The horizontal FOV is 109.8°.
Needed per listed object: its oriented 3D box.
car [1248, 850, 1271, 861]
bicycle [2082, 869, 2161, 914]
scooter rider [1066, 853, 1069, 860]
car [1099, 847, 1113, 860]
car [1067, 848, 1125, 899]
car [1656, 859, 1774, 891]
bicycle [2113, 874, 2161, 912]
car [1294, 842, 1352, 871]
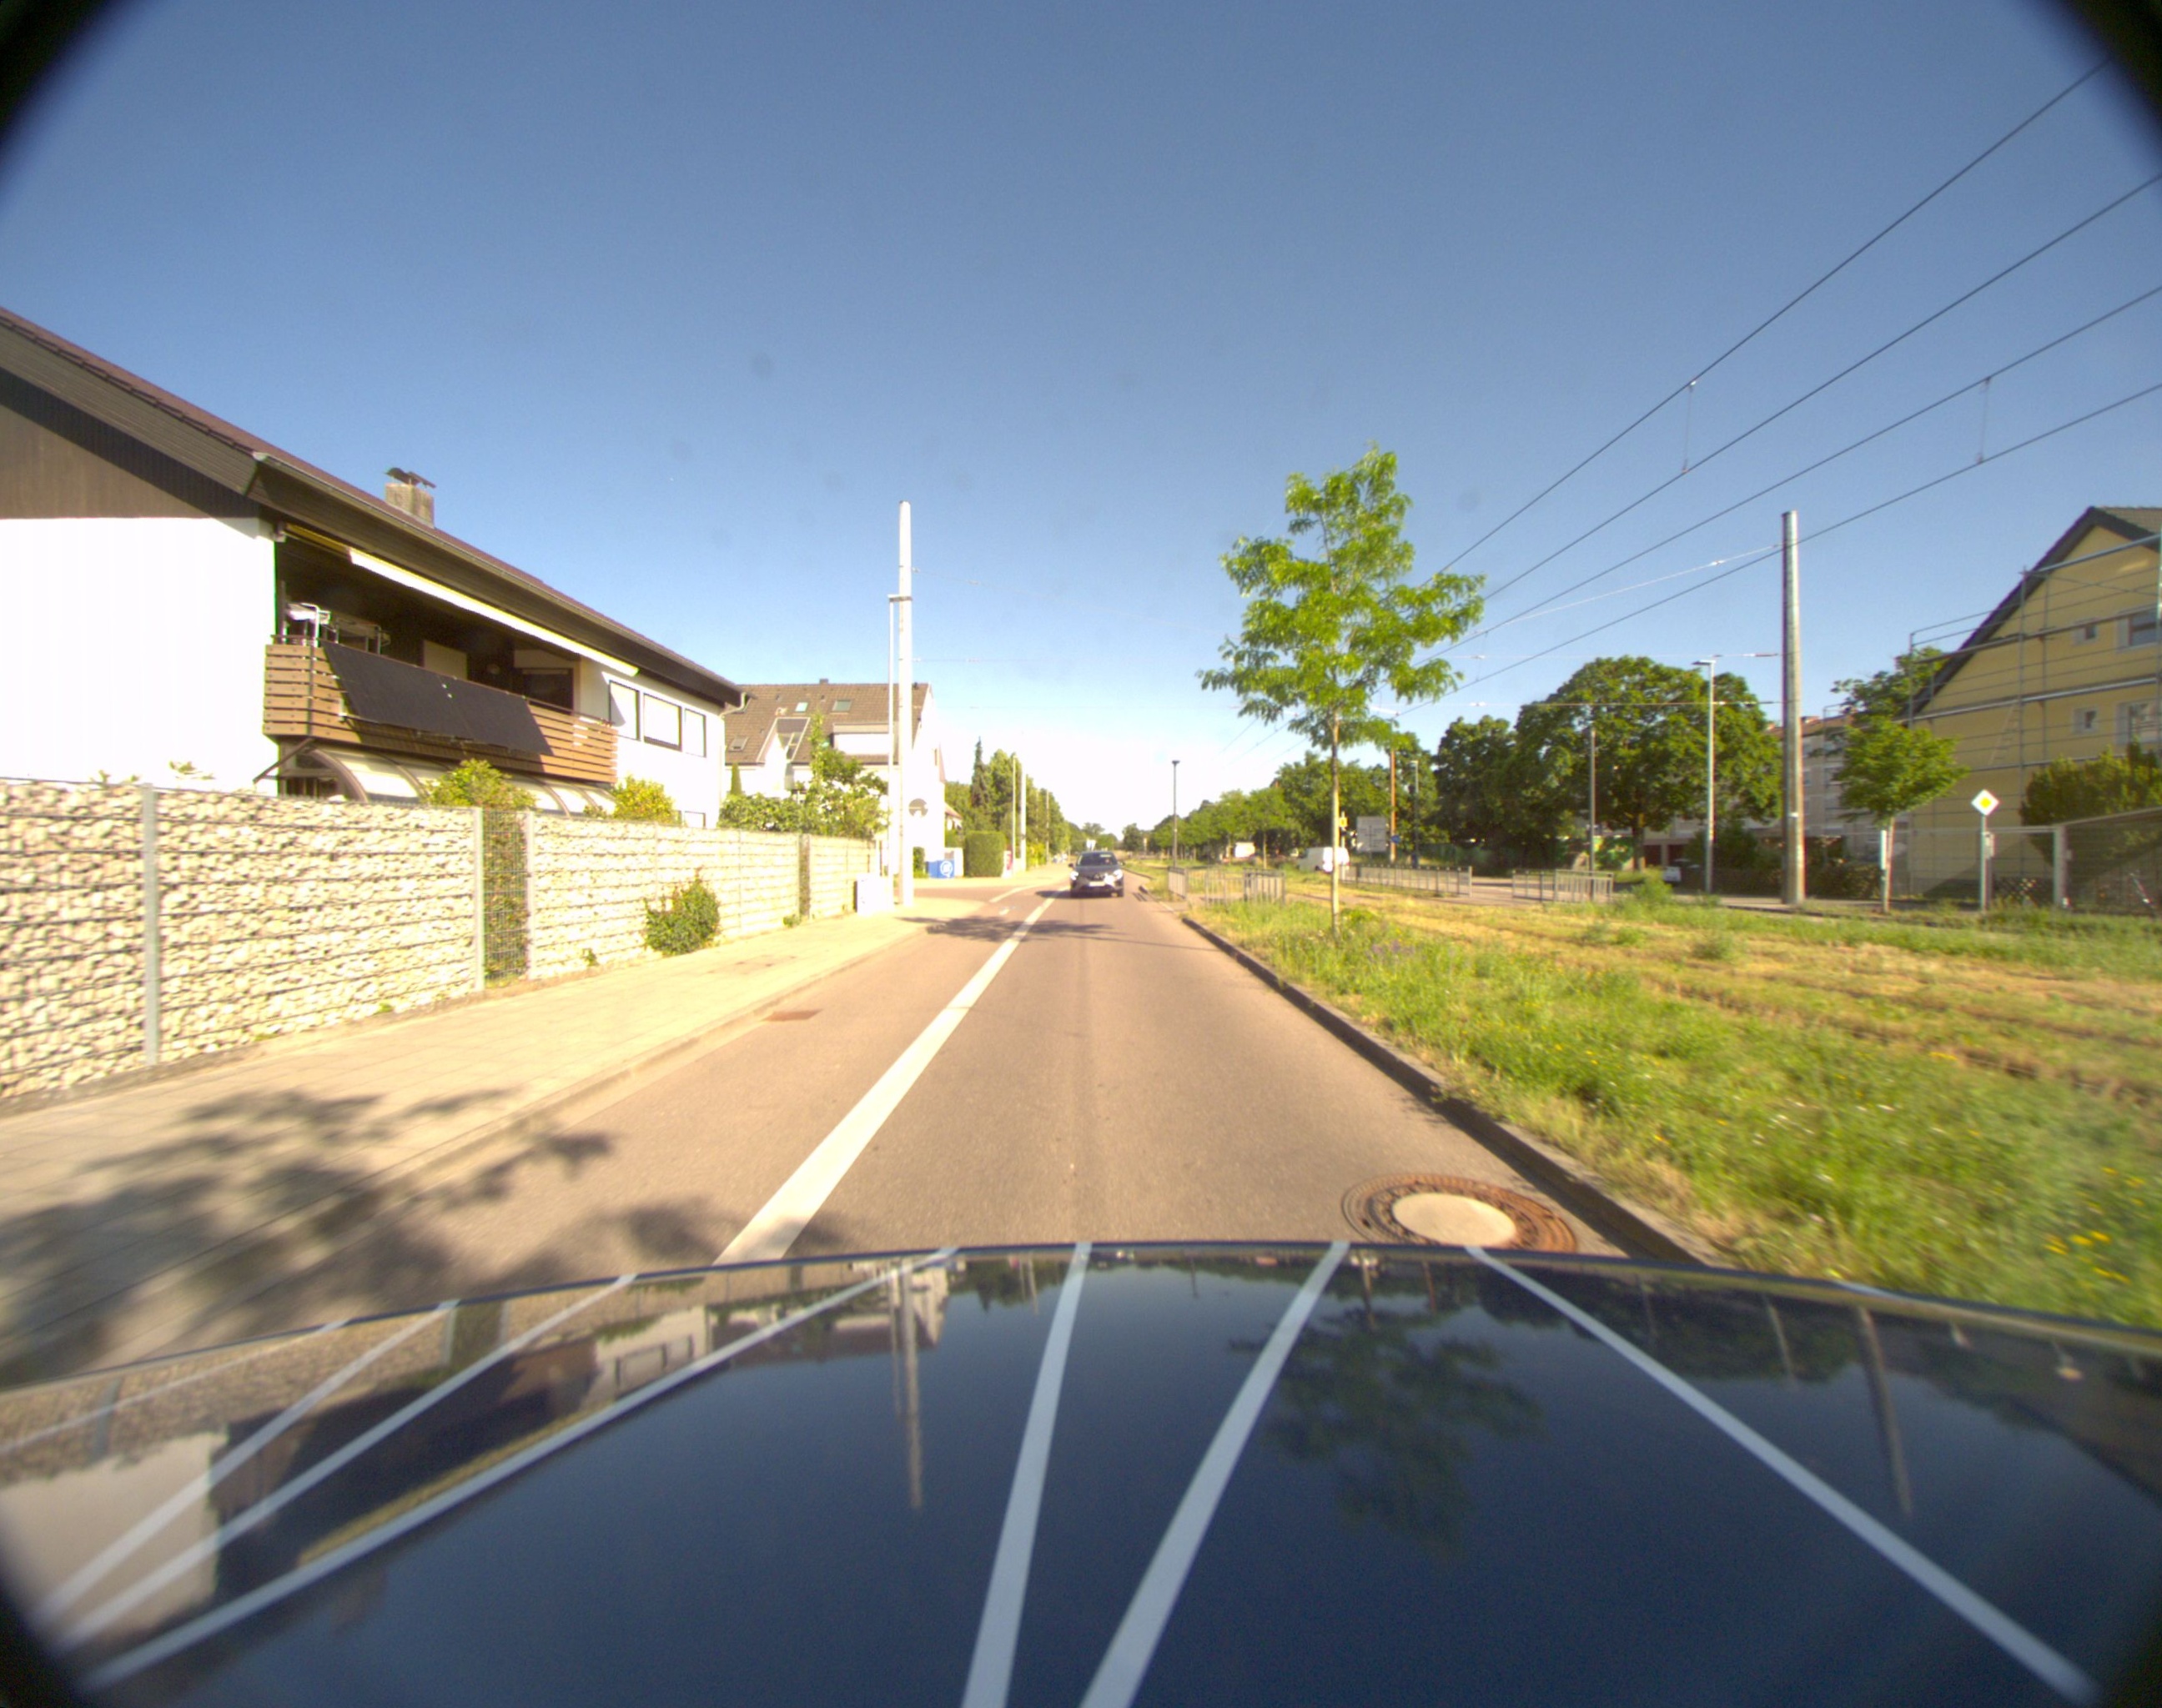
[{"bbox_3d":[31.347,0.286,133.605,1.893,1.899,4.821,-1,-1,40],"label":"car"},{"bbox_3d":[23.950,0.847,17.155,0.424,0.936,1.748,-2,1,1],"label":"bicycle"},{"bbox_3d":[-3.048,0.552,172.057,0.552,1.756,0.599,-1,1,-1],"label":"scooter rider"},{"bbox_3d":[3.790,-0.073,113.729,1.998,1.824,4.000,-2,1,1],"label":"car"},{"bbox_3d":[0.468,0.639,26.742,1.867,1.614,3.999,-1,0,-1],"label":"car"},{"bbox_3d":[29.900,0.988,35.909,3.997,1.396,1.852,0,3,0],"label":"car"},{"bbox_3d":[24.655,0.891,17.295,0.311,0.816,1.509,-2,1,1],"label":"bicycle"},{"bbox_3d":[16.372,0.163,51.605,1.903,1.903,4.698,0,0,-8],"label":"car"}]
